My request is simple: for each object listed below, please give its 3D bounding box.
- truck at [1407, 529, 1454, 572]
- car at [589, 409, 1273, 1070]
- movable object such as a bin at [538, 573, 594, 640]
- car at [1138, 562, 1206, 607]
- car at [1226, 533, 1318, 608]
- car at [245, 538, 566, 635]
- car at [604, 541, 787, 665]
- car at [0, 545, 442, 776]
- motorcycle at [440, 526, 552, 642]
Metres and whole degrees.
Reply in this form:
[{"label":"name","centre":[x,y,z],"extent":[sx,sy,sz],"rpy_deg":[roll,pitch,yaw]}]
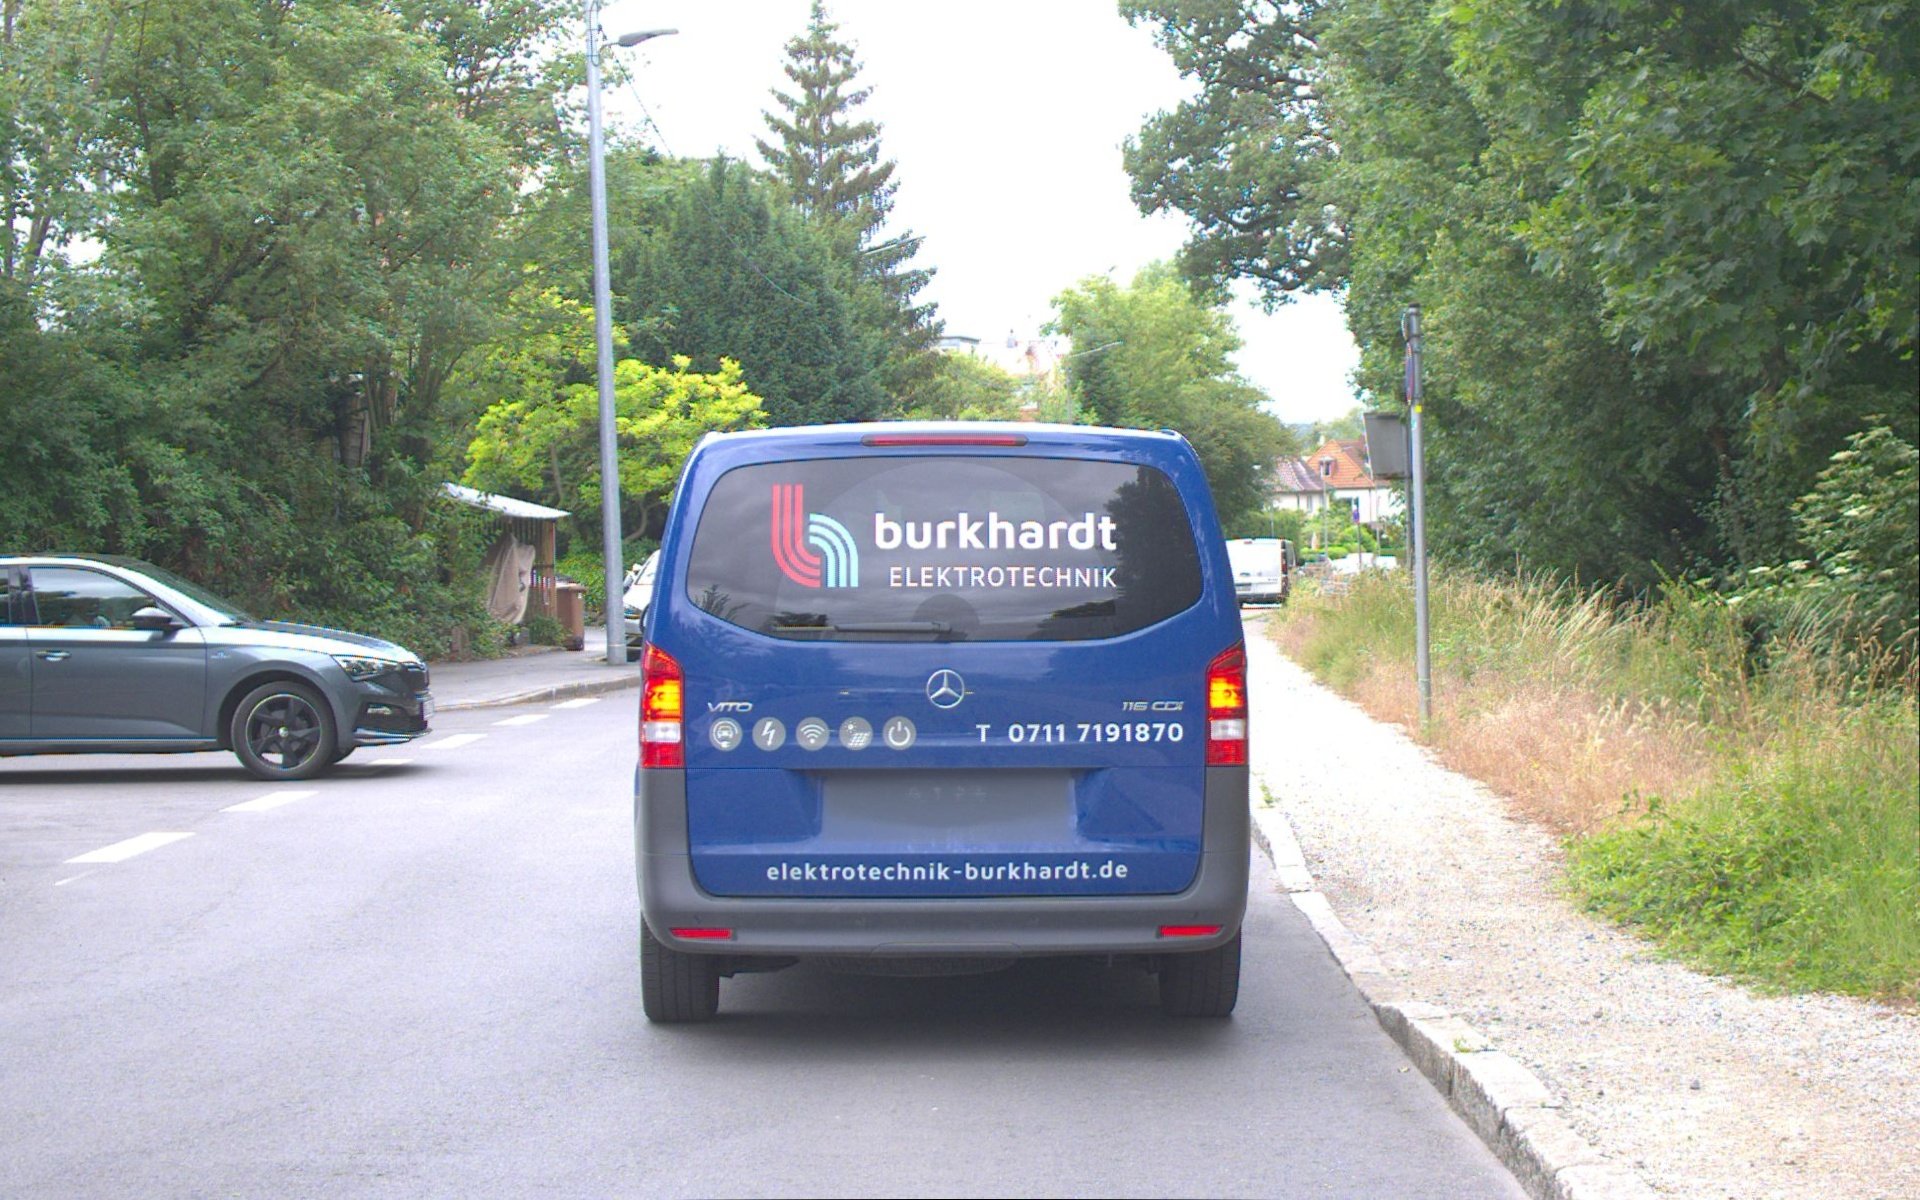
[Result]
[{"label":"truck","centre":[31.511,-3.327,230.175],"extent":[2.764,2.784,9.265],"rpy_deg":[0,1,10]},{"label":"car","centre":[-0.060,0.342,12.018],"extent":[1.936,1.873,4.531],"rpy_deg":[0,1,1]},{"label":"movable object such as a bin","centre":[-5.438,0.090,47.454],"extent":[0.591,0.906,0.700],"rpy_deg":[0,1,10]},{"label":"car","centre":[6.821,-0.521,110.402],"extent":[1.749,1.400,3.998],"rpy_deg":[0,1,10]},{"label":"car","centre":[8.908,-0.873,97.720],"extent":[2.206,2.056,6.133],"rpy_deg":[0,1,9]},{"label":"car","centre":[-8.415,-0.213,52.346],"extent":[4.482,1.436,1.878],"rpy_deg":[0,1,7]},{"label":"car","centre":[-3.239,0.003,42.801],"extent":[1.706,1.462,4.075],"rpy_deg":[0,1,4]},{"label":"car","centre":[-5.568,0.365,22.327],"extent":[4.166,1.442,1.740],"rpy_deg":[0,1,-1]},{"label":"motorcycle","centre":[-6.105,-0.226,45.401],"extent":[0.810,1.480,2.895],"rpy_deg":[0,1,6]}]
